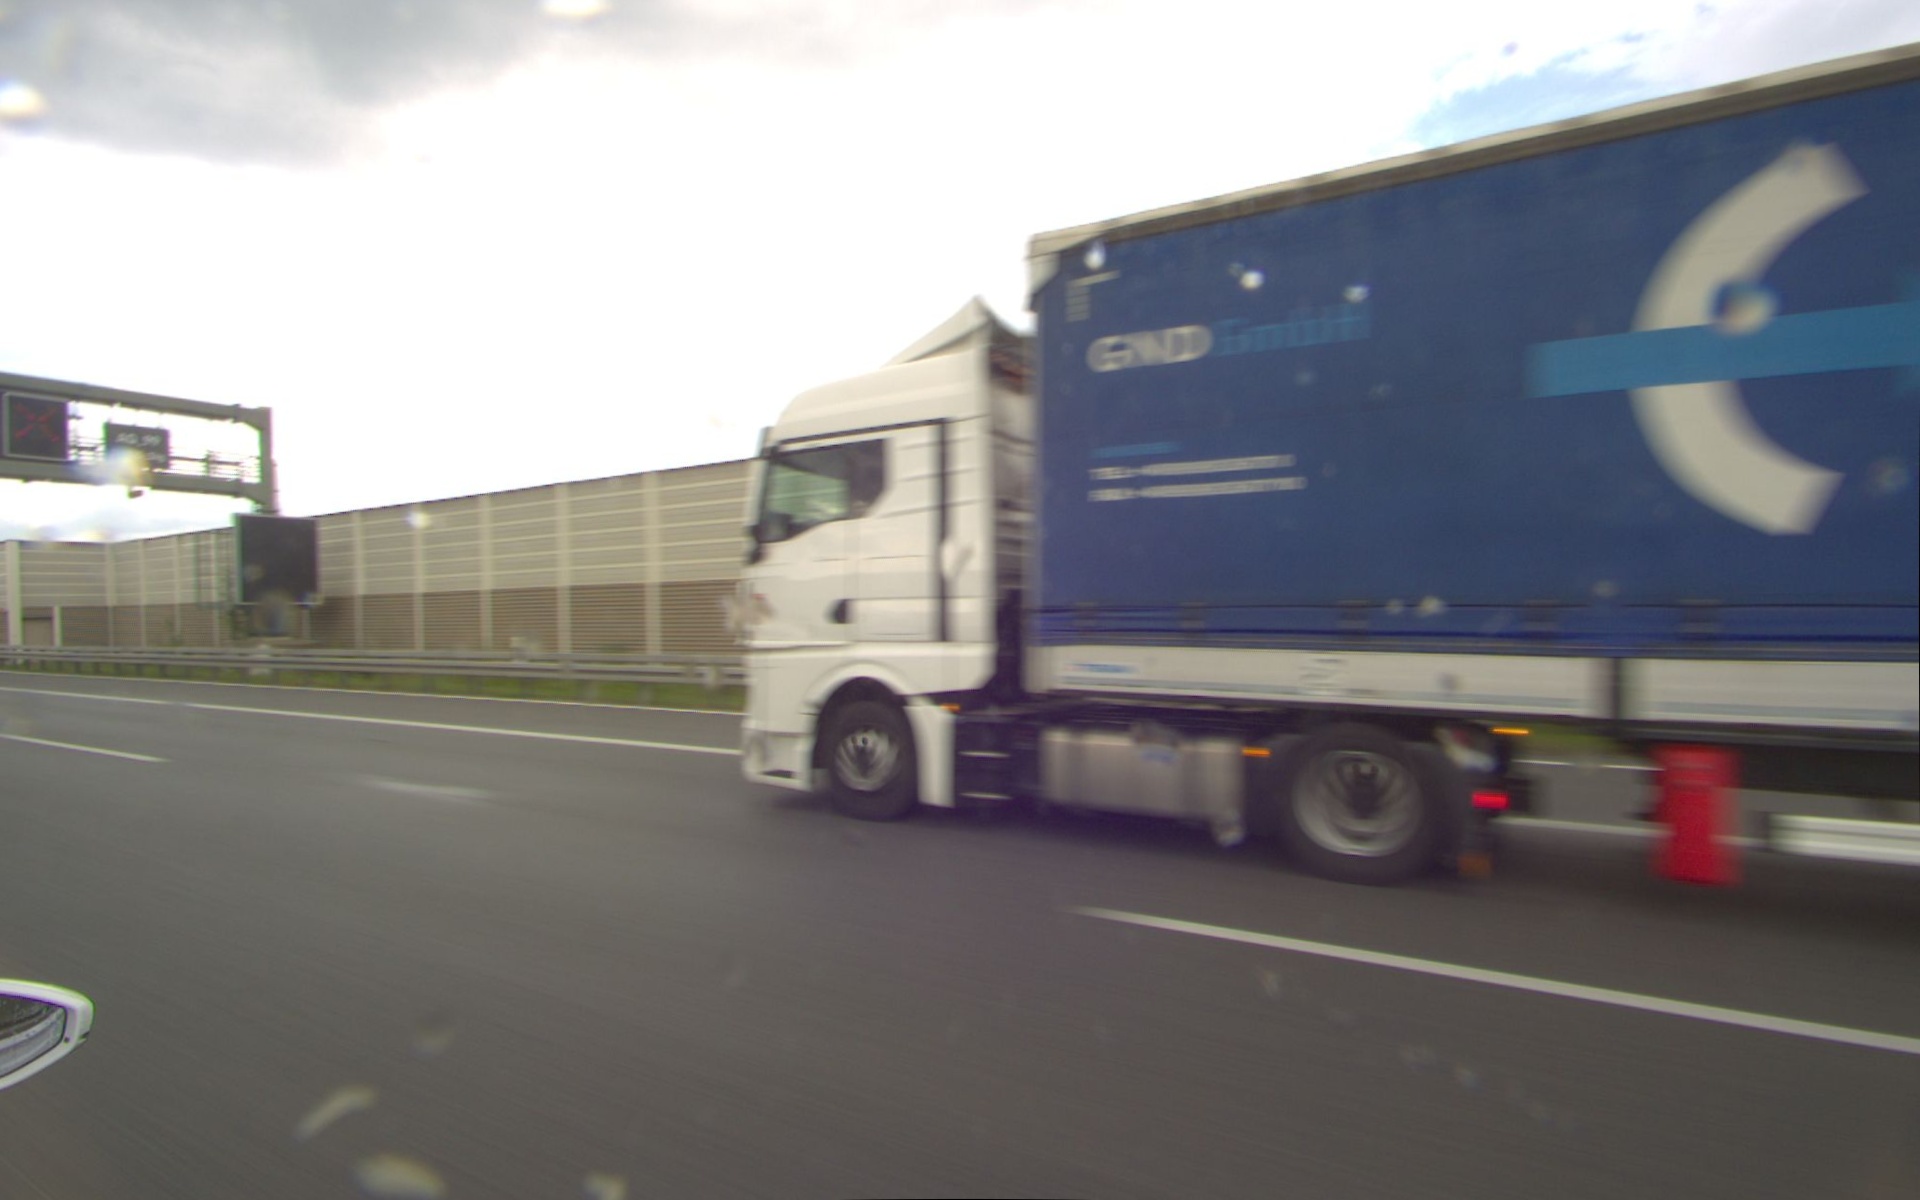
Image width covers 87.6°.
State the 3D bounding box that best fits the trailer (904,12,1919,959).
[{"bbox_3d":[6.367,-0.495,4.561,14.243,4.084,2.757,-1,-1,32],"label":"trailer"}]

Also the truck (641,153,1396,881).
[{"bbox_3d":[0.369,-0.407,8.281,5.643,4.087,2.740,-1,-1,32],"label":"truck"}]
